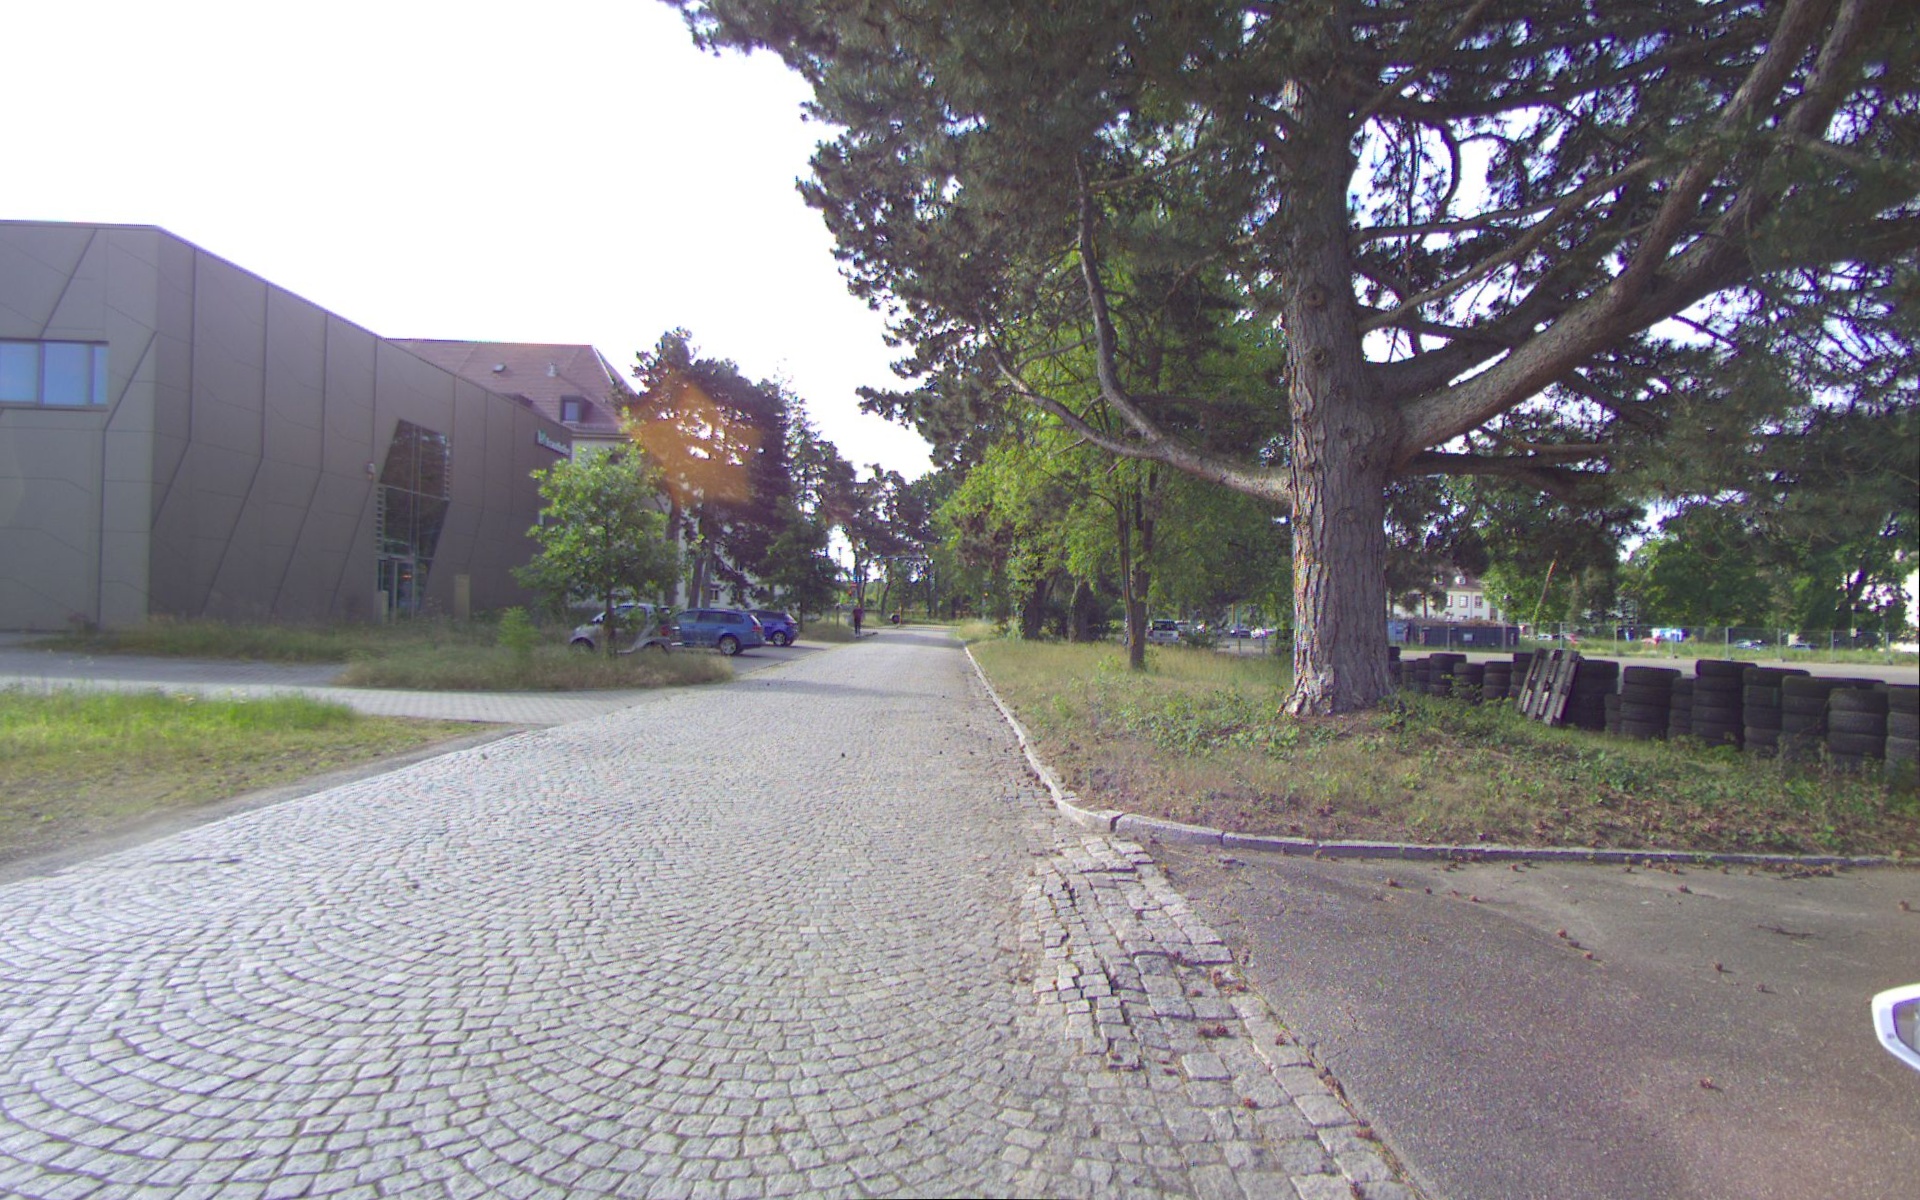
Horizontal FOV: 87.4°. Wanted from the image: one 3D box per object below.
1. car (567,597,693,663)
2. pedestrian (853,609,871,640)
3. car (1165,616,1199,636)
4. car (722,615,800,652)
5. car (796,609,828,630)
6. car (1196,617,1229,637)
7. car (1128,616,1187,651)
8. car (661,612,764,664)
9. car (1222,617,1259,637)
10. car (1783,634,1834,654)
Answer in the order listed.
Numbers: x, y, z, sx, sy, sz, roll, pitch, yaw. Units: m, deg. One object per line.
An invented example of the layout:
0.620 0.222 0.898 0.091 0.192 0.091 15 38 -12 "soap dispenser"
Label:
-8.440 0.770 25.822 2.714 1.570 1.426 2 -1 3 "car"
-6.043 1.532 61.883 0.943 1.868 0.953 2 0 -15 "pedestrian"
18.866 2.198 85.421 1.961 1.639 4.000 1 -1 0 "car"
-8.371 1.404 42.430 3.036 1.469 1.490 2 -1 -7 "car"
-11.981 1.595 81.419 1.961 1.639 4.000 1 -1 0 "car"
21.515 2.264 85.715 1.790 1.639 4.001 1 -1 1 "car"
9.363 1.564 47.831 1.856 1.561 3.999 2 -1 -2 "car"
-8.096 1.226 33.040 3.036 1.476 1.491 4 -1 -6 "car"
24.004 2.279 86.036 1.961 1.639 4.000 1 -1 0 "car"
82.568 4.237 97.784 1.959 1.773 4.003 1 -1 9 "car"
